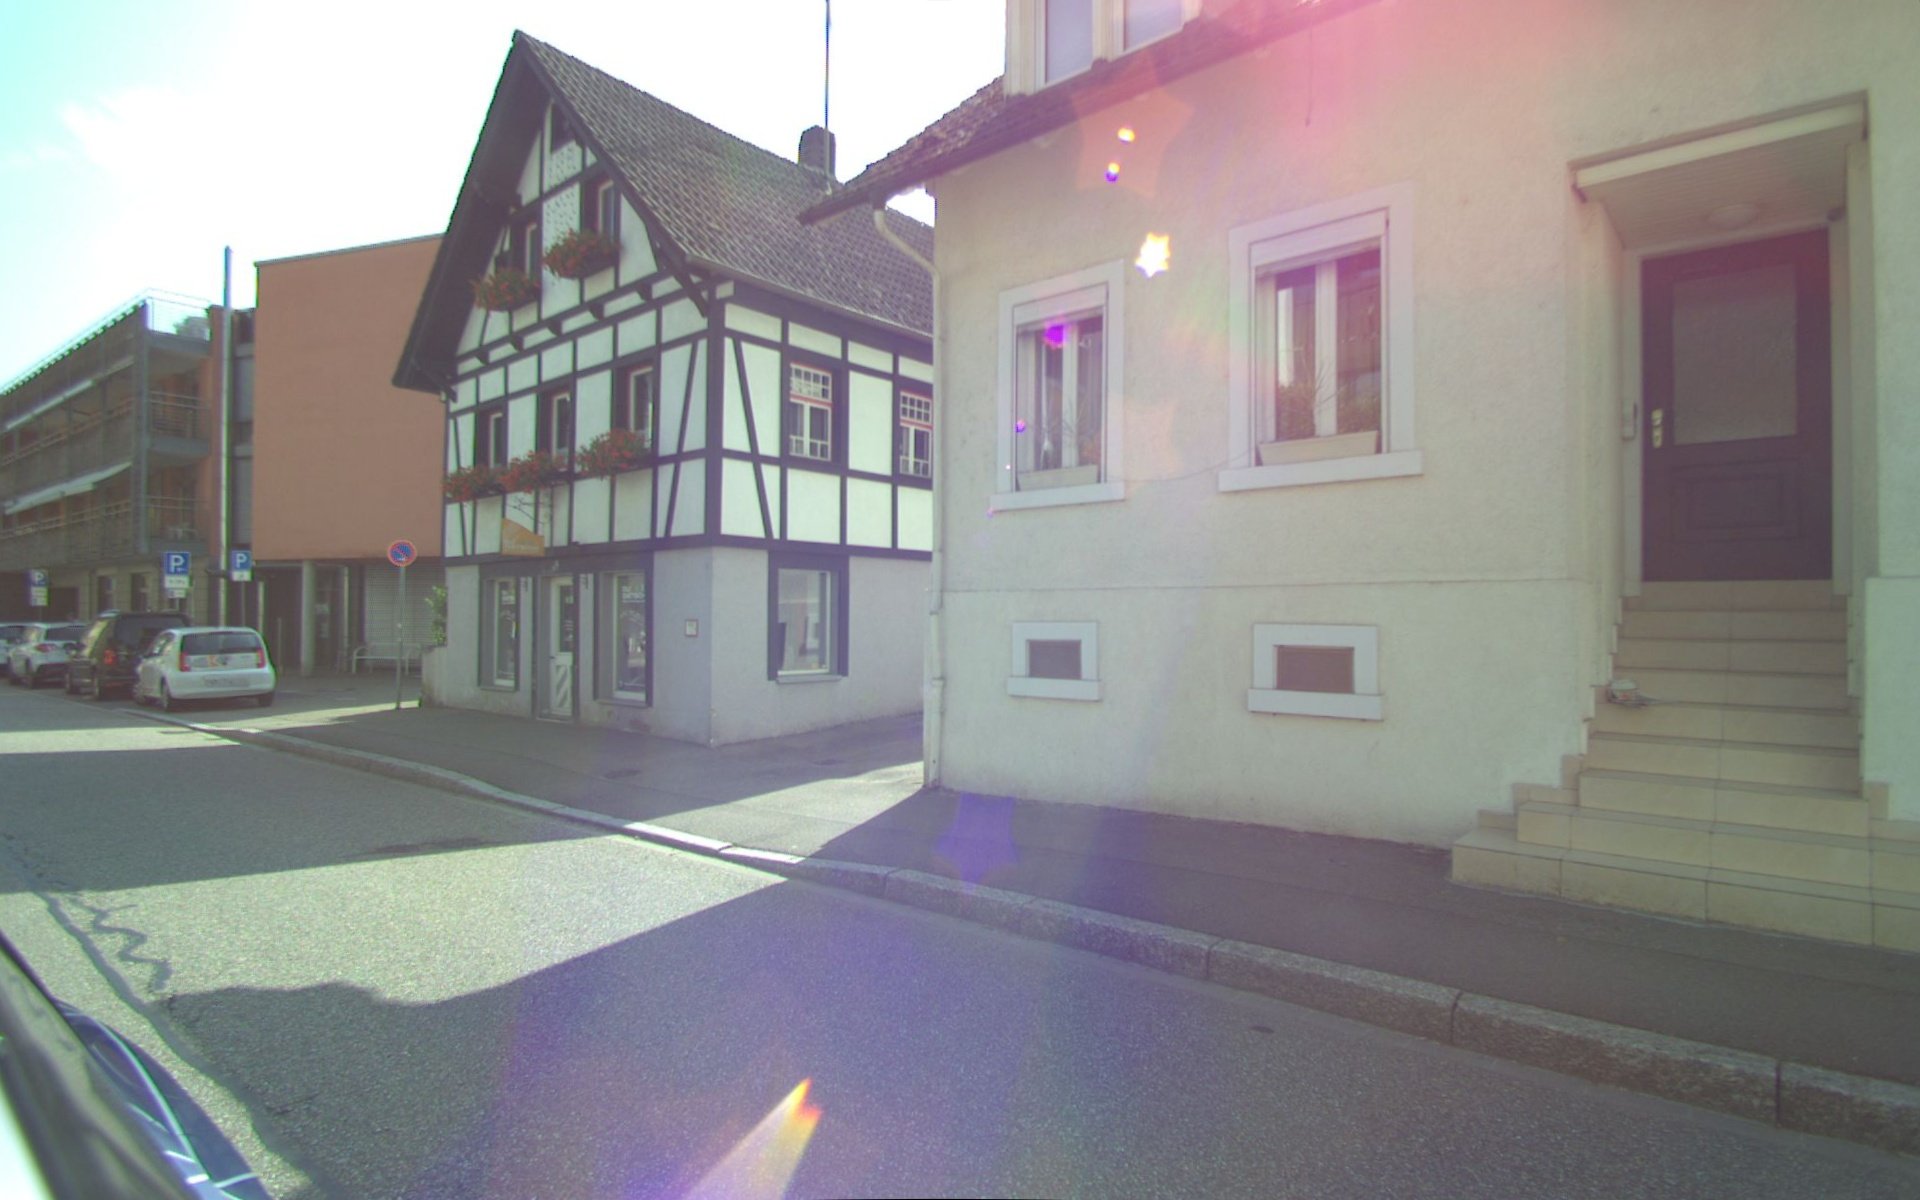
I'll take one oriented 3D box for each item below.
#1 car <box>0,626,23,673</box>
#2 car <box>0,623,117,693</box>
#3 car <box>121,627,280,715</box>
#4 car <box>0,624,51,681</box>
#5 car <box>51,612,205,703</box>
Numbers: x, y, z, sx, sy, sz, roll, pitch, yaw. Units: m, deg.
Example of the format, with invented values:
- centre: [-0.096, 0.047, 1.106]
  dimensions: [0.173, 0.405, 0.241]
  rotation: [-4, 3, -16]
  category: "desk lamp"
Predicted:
- centre: [-31.992, 1.610, 33.124]
  dimensions: [3.591, 1.427, 1.533]
  rotation: [0, 0, 41]
  category: "car"
- centre: [-22.913, 1.417, 25.621]
  dimensions: [3.944, 1.601, 1.658]
  rotation: [-2, -1, 39]
  category: "car"
- centre: [-14.275, 1.270, 18.961]
  dimensions: [3.566, 1.443, 1.649]
  rotation: [-2, -1, 41]
  category: "car"
- centre: [-28.215, 1.525, 29.722]
  dimensions: [3.760, 1.567, 1.658]
  rotation: [-2, -1, 39]
  category: "car"
- centre: [-18.294, 1.196, 22.206]
  dimensions: [4.263, 1.810, 1.704]
  rotation: [-1, -2, 38]
  category: "car"
